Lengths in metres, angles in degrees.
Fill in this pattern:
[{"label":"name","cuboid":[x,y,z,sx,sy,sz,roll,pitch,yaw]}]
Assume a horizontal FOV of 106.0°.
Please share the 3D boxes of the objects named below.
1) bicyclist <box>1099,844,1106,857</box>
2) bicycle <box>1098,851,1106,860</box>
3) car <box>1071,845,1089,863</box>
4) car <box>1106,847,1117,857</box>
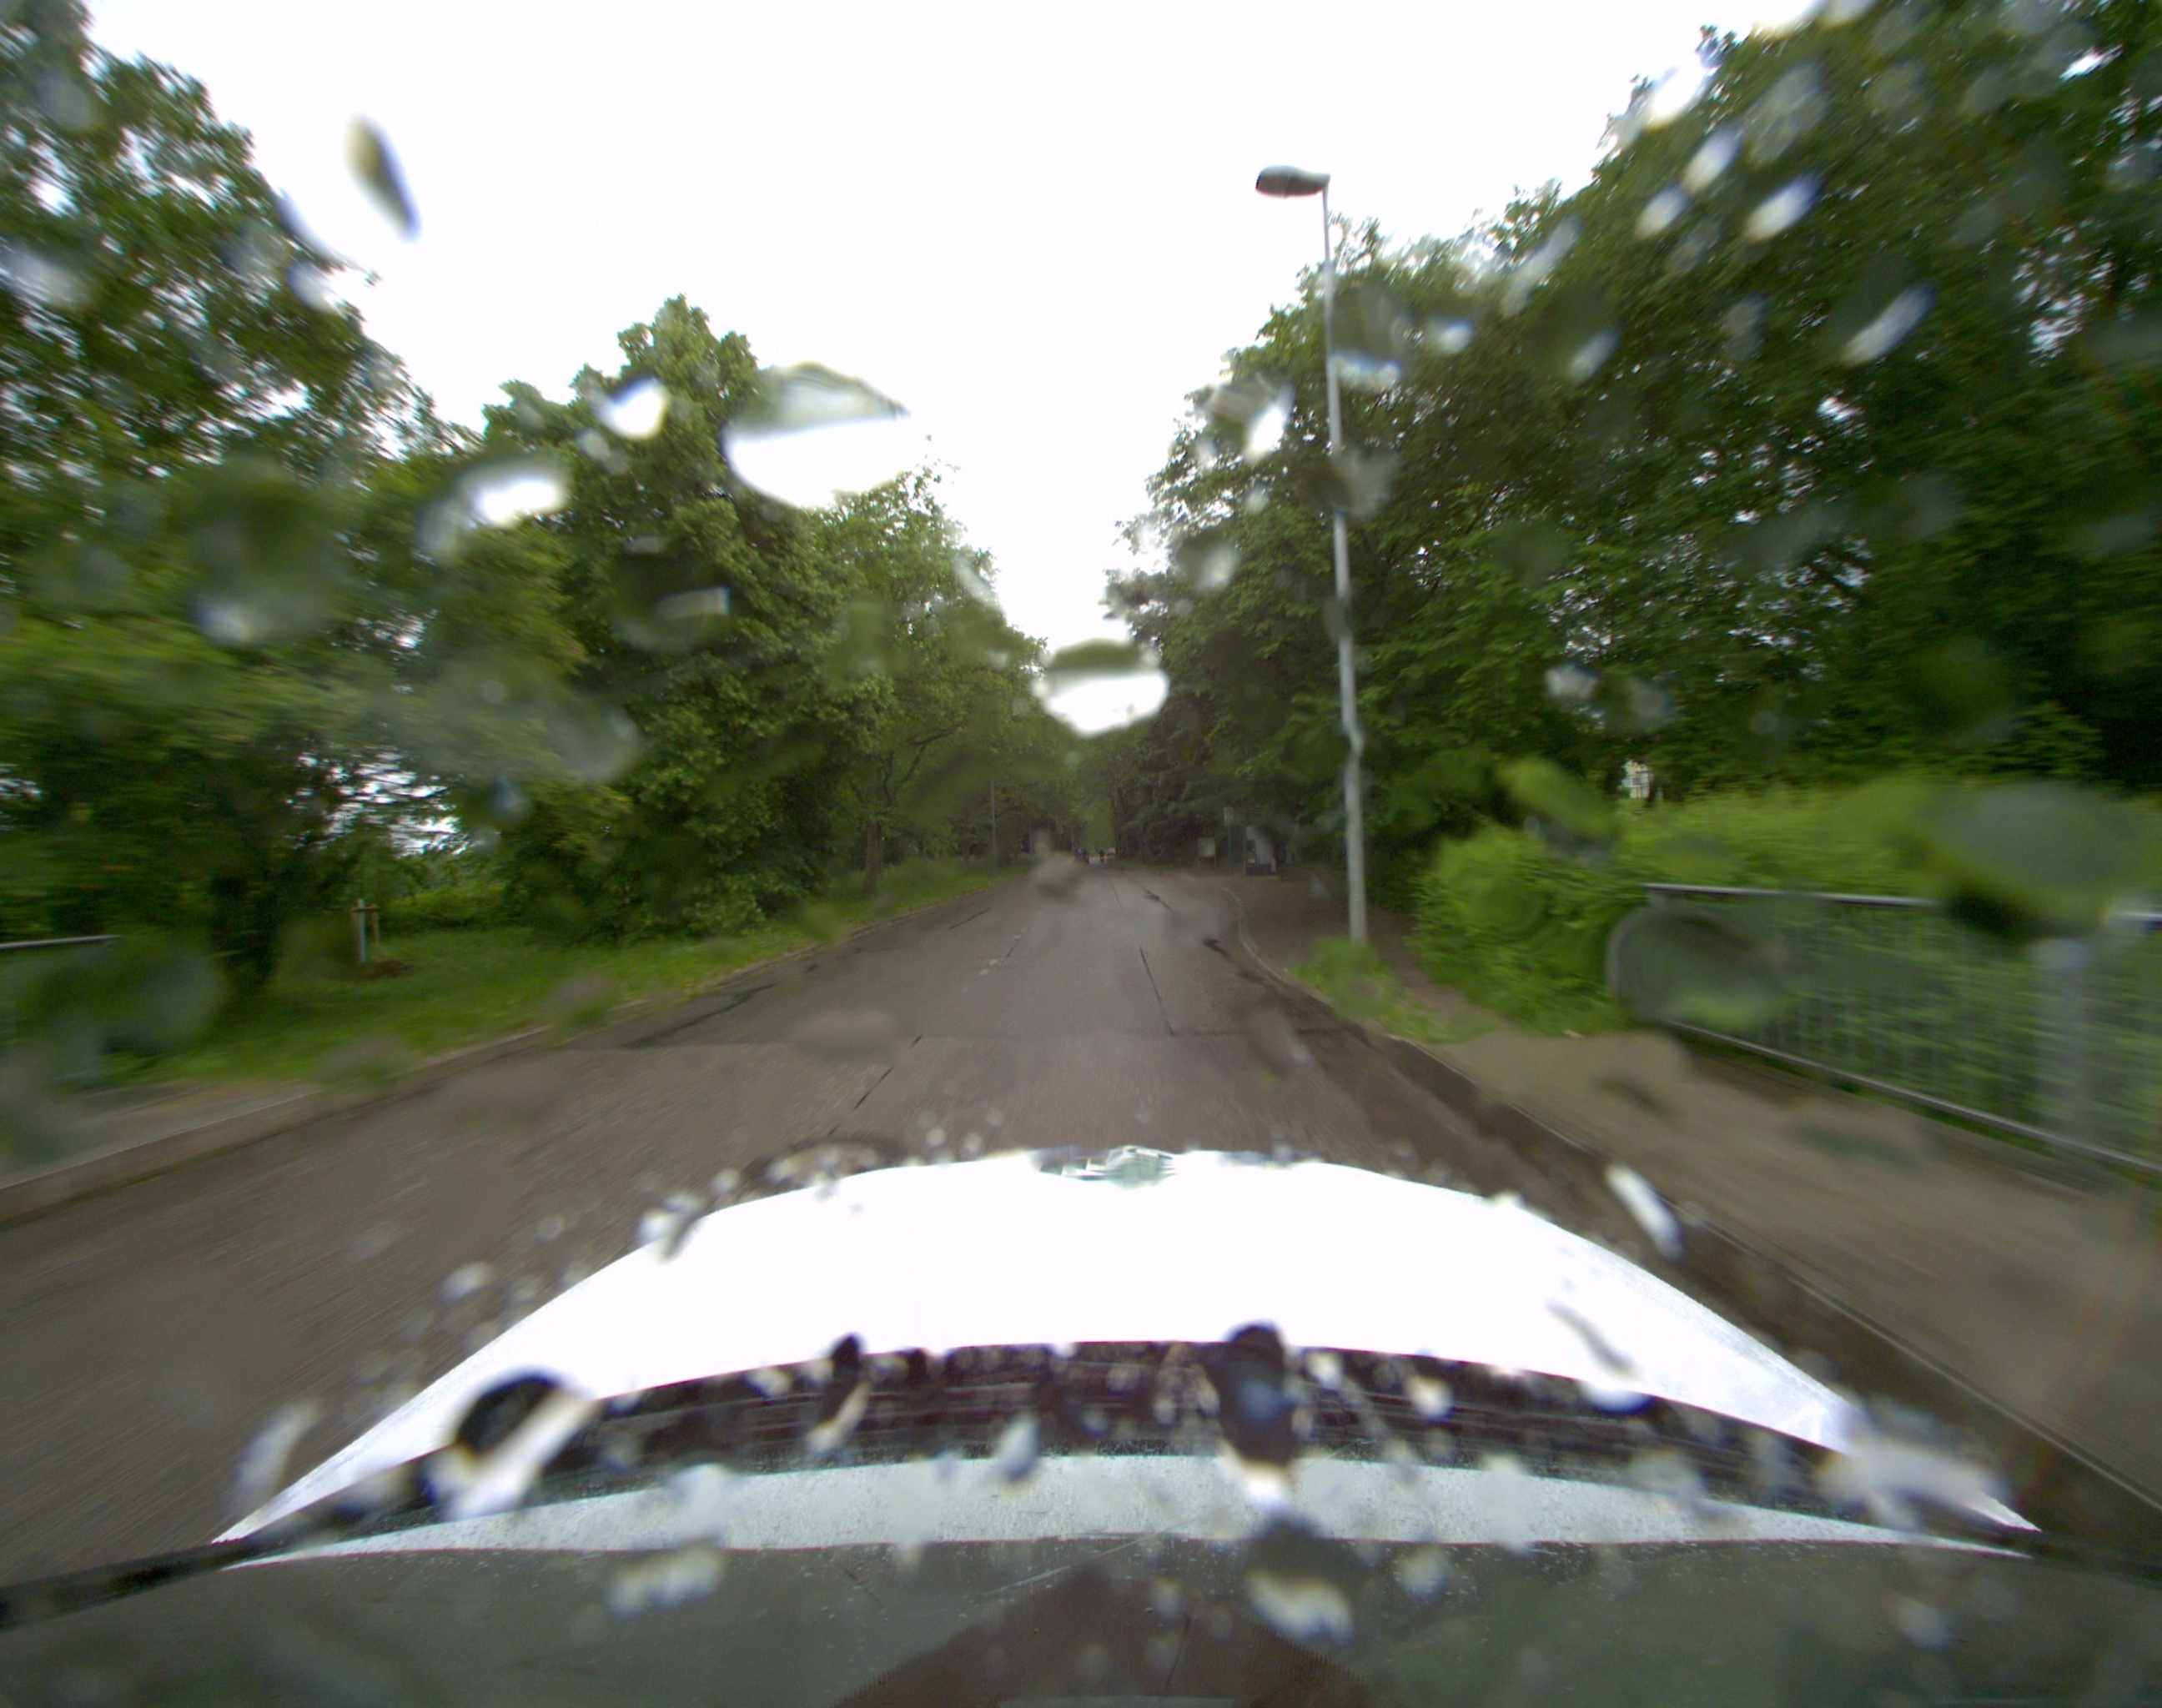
[{"label":"bicyclist","cuboid":[2.306,-0.348,88.952,0.726,1.410,0.974,-1,0,3]},{"label":"bicycle","cuboid":[2.311,0.169,88.983,0.726,0.974,2.175,-1,1,4]},{"label":"car","cuboid":[-0.126,-0.043,94.057,1.980,1.925,3.998,-2,1,-2]},{"label":"car","cuboid":[6.065,-0.423,162.168,1.987,1.816,4.000,-1,0,0]}]
